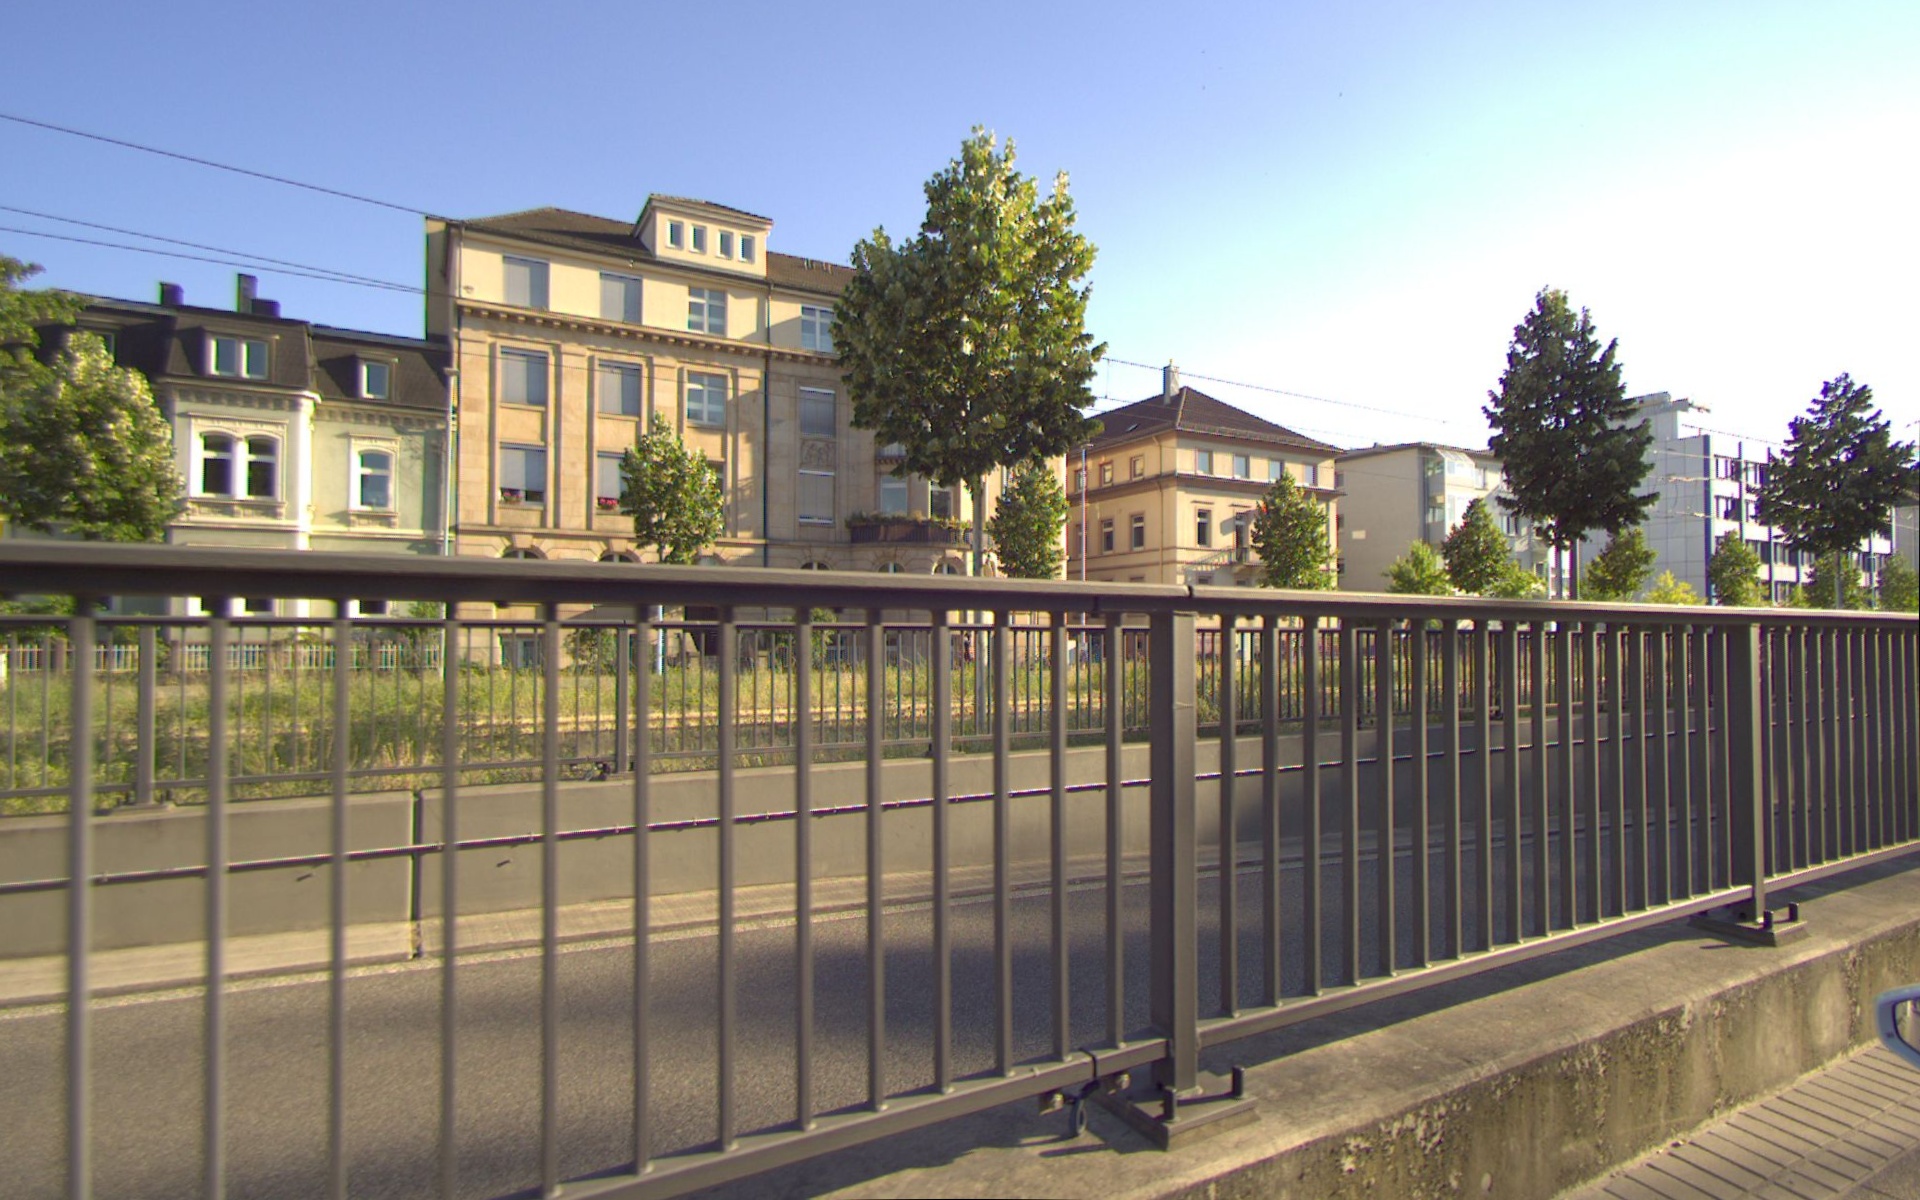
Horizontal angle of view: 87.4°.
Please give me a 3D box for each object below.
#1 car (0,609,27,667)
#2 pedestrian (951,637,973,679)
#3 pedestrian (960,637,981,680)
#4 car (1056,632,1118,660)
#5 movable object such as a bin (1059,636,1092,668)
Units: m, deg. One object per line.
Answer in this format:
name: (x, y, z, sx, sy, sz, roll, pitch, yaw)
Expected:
car: (-35.857, 1.376, 36.373, 1.974, 2.073, 3.973, 1, -2, -27)
pedestrian: (0.082, 2.396, 41.917, 0.645, 1.743, 0.653, 1, -2, -30)
pedestrian: (0.434, 2.382, 41.288, 0.645, 1.743, 0.553, 1, -2, -30)
car: (7.478, 2.720, 59.549, 1.661, 1.488, 3.971, 2, -1, -28)
movable object such as a bin: (5.480, 2.466, 47.862, 1.067, 1.447, 1.200, 1, -2, -29)
